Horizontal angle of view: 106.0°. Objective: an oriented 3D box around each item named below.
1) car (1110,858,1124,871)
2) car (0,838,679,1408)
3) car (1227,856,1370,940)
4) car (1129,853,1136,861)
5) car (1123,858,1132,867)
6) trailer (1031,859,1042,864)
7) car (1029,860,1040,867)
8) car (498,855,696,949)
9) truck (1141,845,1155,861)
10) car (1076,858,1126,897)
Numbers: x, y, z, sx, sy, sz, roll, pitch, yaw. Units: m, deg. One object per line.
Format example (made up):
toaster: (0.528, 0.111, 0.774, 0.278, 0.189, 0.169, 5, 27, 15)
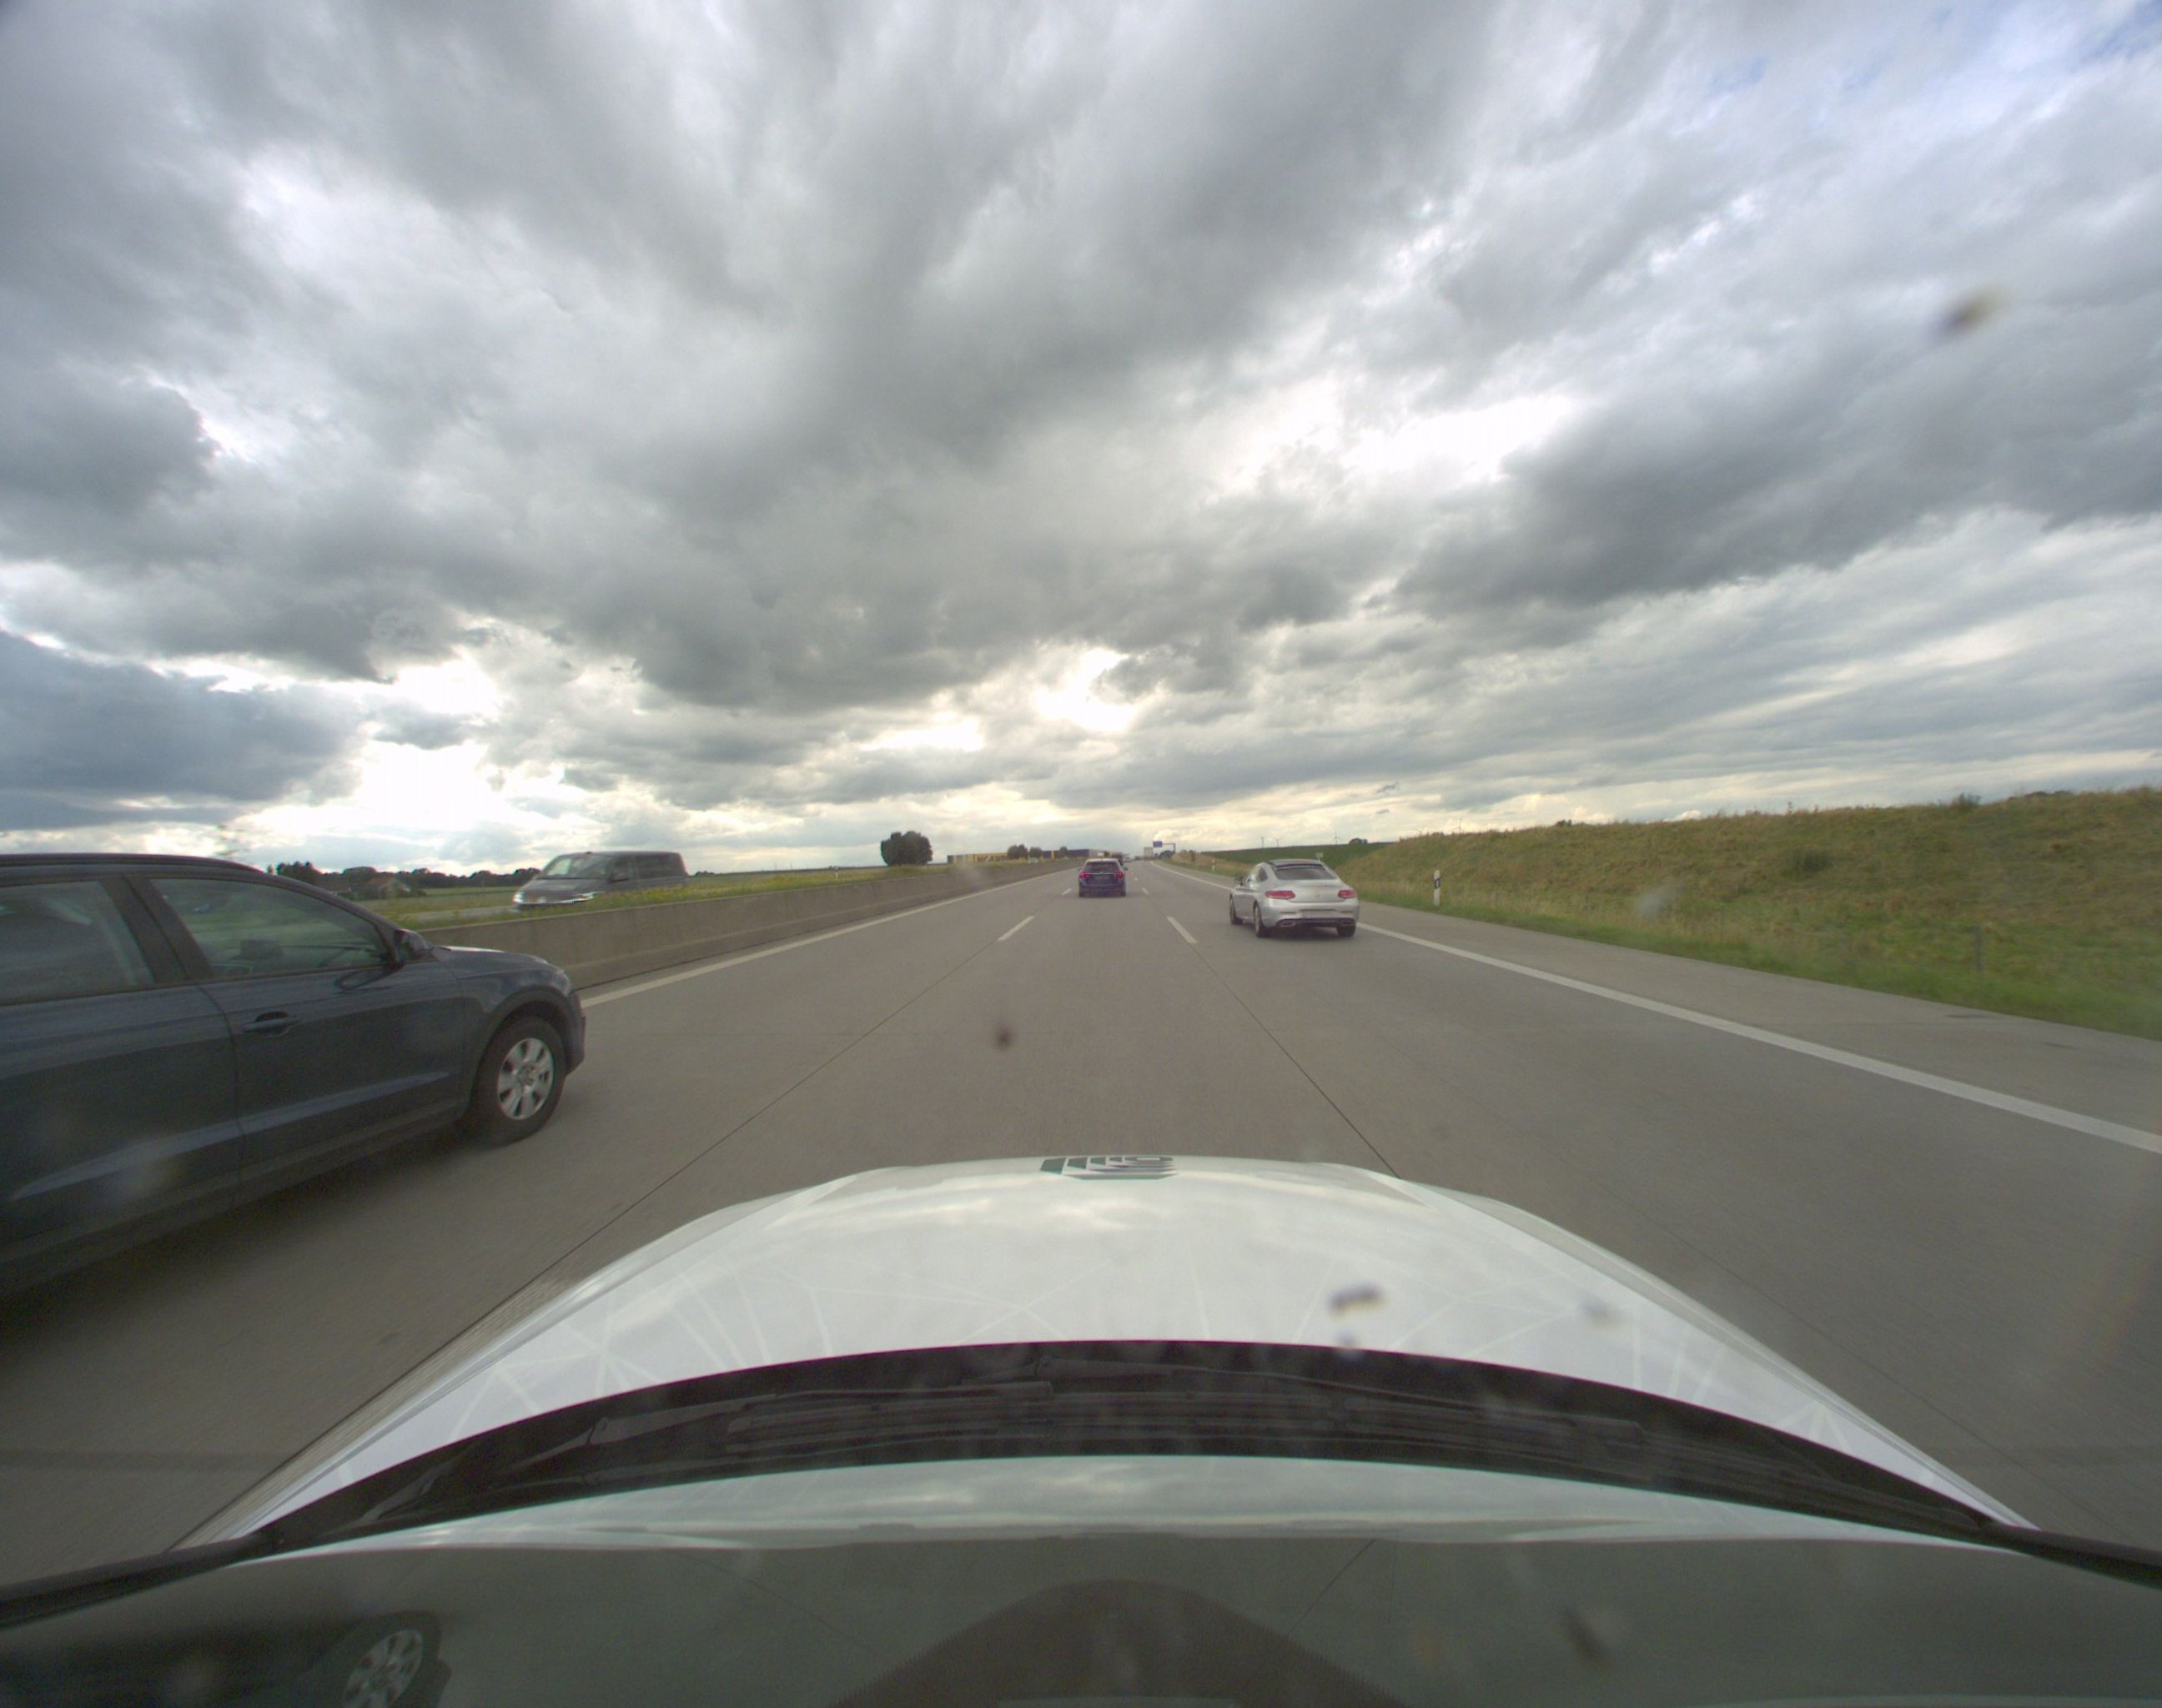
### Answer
car: (5.529, 1.606, 125.993, 1.987, 2.014, 3.999, 0, -1, 0)
car: (-3.920, 0.763, 3.527, 1.787, 1.596, 5.156, 0, 0, 0)
car: (4.075, 0.768, 15.984, 1.782, 1.403, 4.222, -1, -1, 2)
car: (14.847, 0.857, 234.294, 1.986, 2.014, 4.001, 0, -1, 2)
car: (10.560, 1.967, 184.399, 1.985, 2.014, 4.003, 0, 0, 3)
trailer: (-9.603, 1.601, 175.996, 1.779, 0.983, 3.566, 0, -1, 3)
car: (-9.765, 2.082, 171.777, 1.889, 1.470, 4.853, 0, -1, 3)
car: (-11.680, 1.053, 20.110, 1.986, 2.013, 4.632, 0, 0, 2)
truck: (20.895, -0.235, 254.730, 3.935, 4.756, 12.079, 0, -1, 2)
car: (0.788, 0.878, 31.678, 1.768, 1.413, 4.001, -1, -1, 2)
